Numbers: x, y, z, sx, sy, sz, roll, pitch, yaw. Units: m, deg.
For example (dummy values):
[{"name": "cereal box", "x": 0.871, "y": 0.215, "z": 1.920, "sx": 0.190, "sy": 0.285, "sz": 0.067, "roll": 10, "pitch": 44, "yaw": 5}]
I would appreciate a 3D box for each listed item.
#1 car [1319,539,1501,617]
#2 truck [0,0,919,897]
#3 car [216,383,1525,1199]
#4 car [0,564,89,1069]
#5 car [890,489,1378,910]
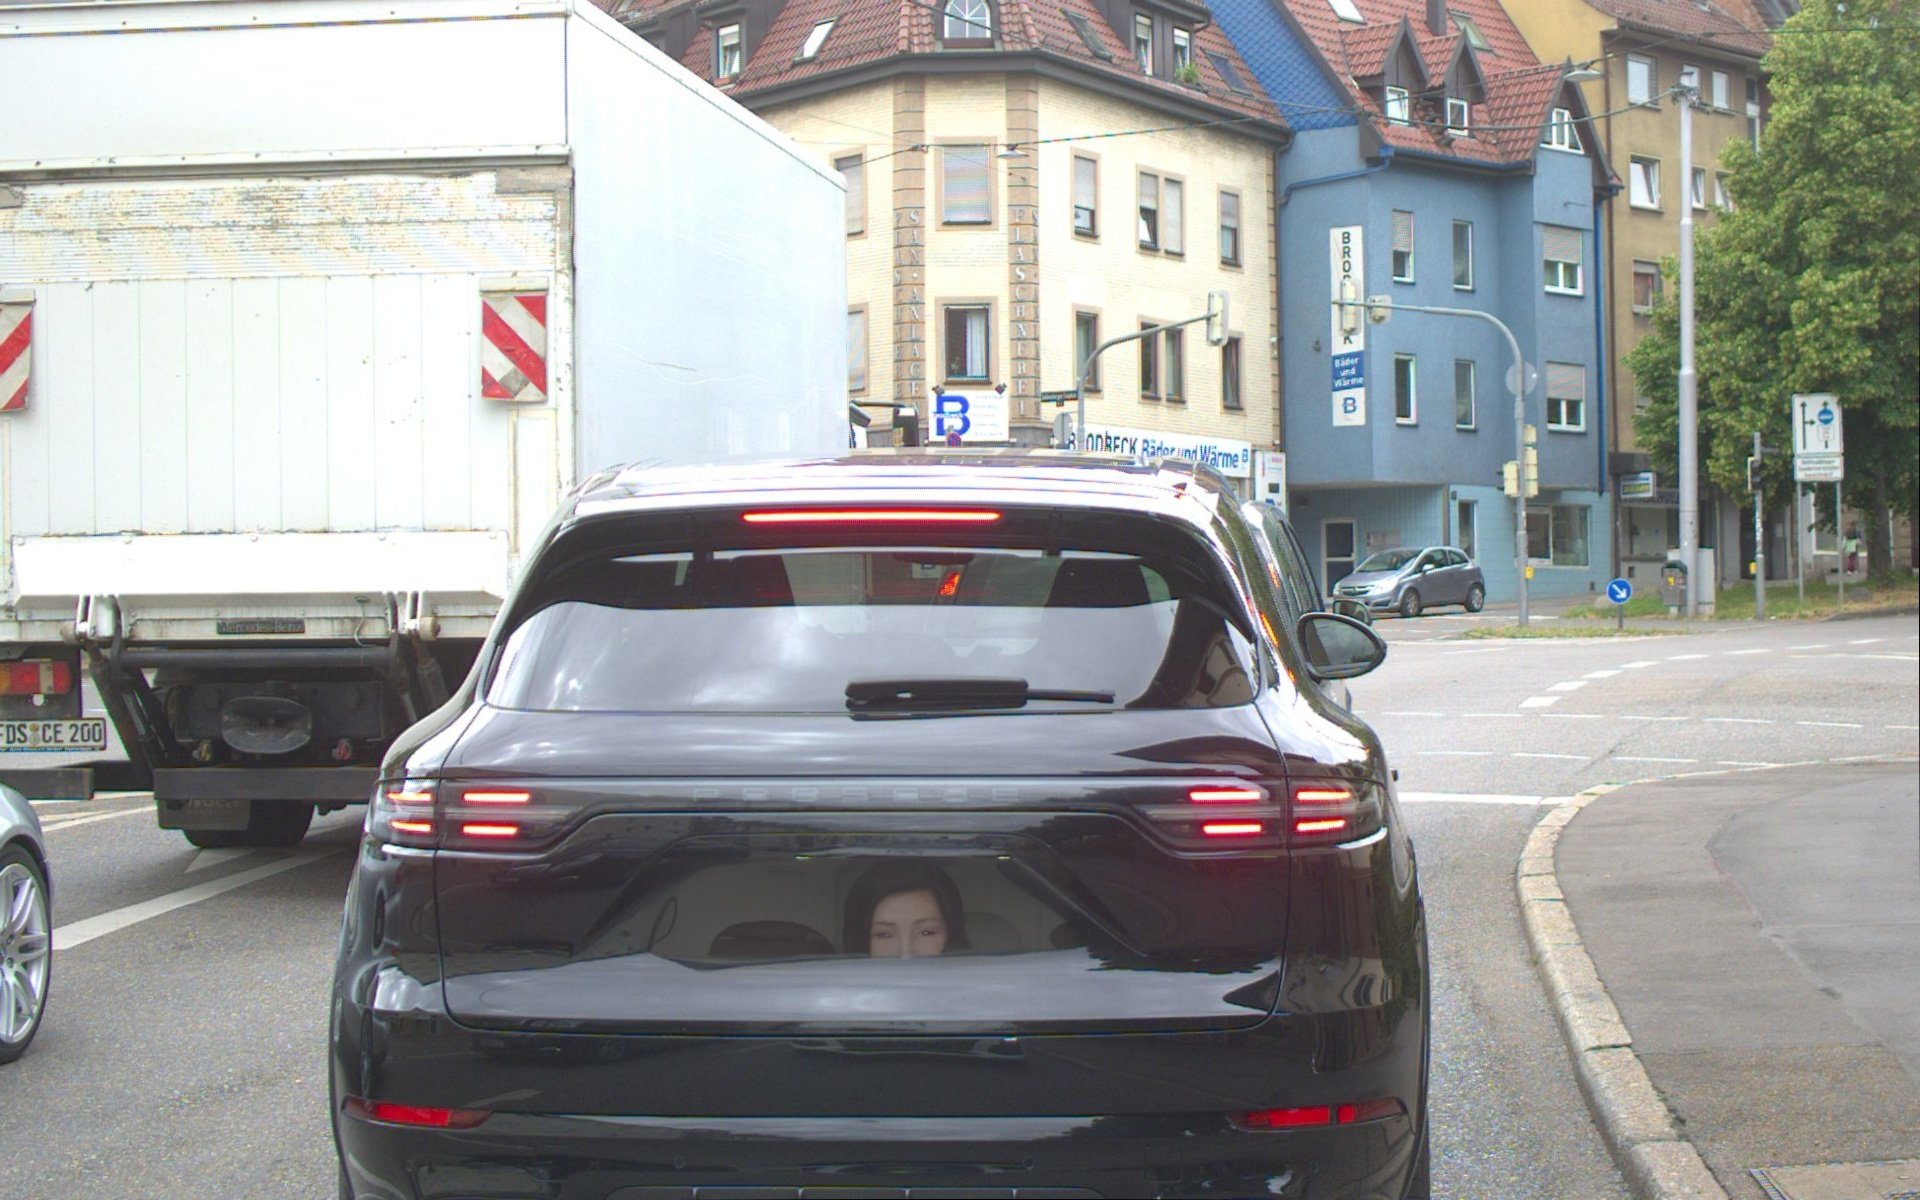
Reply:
[{"name": "car", "x": 9.344, "y": -0.436, "z": 71.216, "sx": 1.720, "sy": 1.471, "sz": 4.208, "roll": 0, "pitch": -1, "yaw": 40}, {"name": "truck", "x": -2.212, "y": -0.713, "z": 17.333, "sx": 2.726, "sy": 3.532, "sz": 8.419, "roll": -1, "pitch": 1, "yaw": 8}, {"name": "car", "x": -0.168, "y": 0.510, "z": 7.628, "sx": 2.031, "sy": 1.717, "sz": 4.500, "roll": 1, "pitch": 1, "yaw": -1}, {"name": "car", "x": -3.500, "y": 0.628, "z": 8.041, "sx": 1.629, "sy": 1.360, "sz": 4.128, "roll": -1, "pitch": 1, "yaw": 4}, {"name": "car", "x": 0.858, "y": 0.351, "z": 14.694, "sx": 1.649, "sy": 1.550, "sz": 3.581, "roll": 1, "pitch": 1, "yaw": 10}]
